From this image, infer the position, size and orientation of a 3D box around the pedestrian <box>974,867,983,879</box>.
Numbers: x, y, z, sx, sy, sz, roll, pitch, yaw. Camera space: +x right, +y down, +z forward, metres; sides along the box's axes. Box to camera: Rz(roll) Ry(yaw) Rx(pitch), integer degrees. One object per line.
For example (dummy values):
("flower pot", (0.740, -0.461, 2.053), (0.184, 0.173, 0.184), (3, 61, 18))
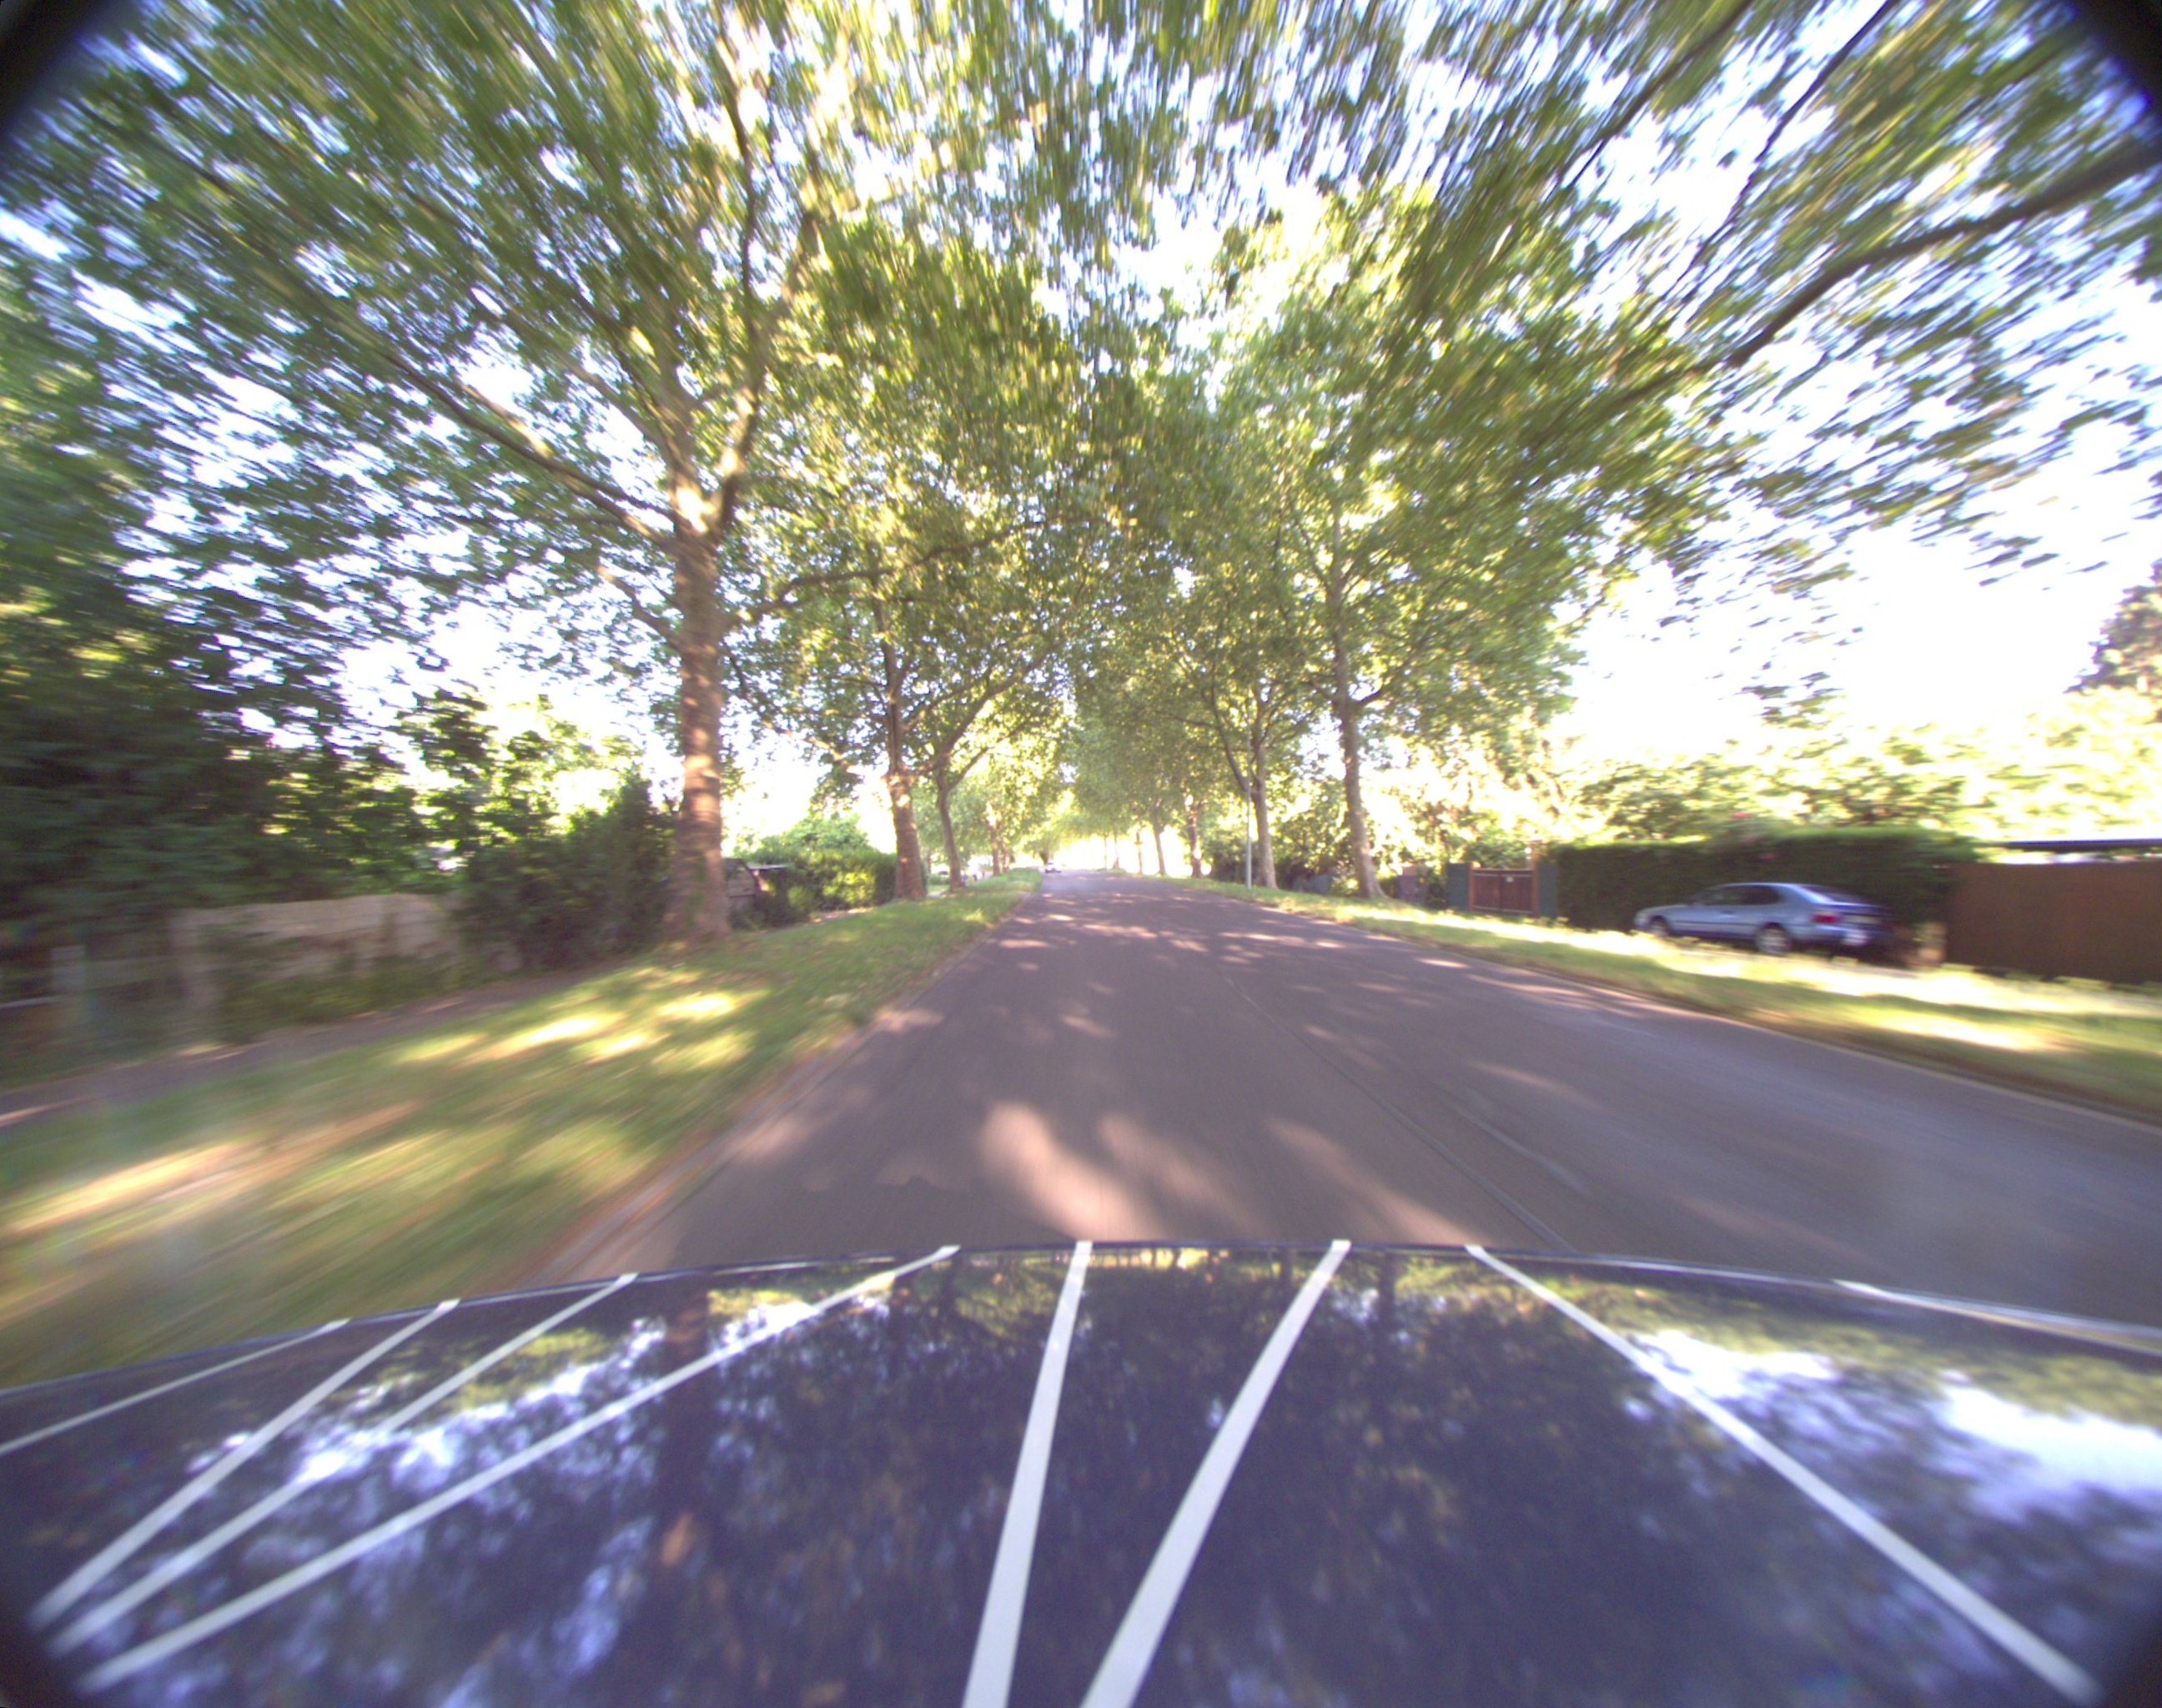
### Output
("pedestrian", (-13.604, 2.506, 101.164), (0.843, 1.567, 0.786), (-1, 1, 26))

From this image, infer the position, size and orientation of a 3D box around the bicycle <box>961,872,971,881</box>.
("bicycle", (-10.830, 2.126, 71.635), (0.553, 0.812, 1.889), (-2, 1, 4))

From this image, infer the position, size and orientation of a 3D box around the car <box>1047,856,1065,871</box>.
("car", (-3.058, 1.152, 93.185), (1.999, 1.655, 3.998), (-2, 0, -5))

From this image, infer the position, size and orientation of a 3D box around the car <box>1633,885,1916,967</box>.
("car", (13.257, 1.307, 14.913), (1.757, 1.296, 3.999), (0, -1, -4))

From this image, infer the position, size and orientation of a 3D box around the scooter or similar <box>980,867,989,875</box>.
("scooter or similar", (-14.225, 2.527, 112.065), (0.340, 1.128, 1.603), (-1, 1, 40))

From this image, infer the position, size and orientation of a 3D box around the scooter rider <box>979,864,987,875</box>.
("scooter rider", (-14.478, 2.281, 111.916), (0.782, 1.567, 0.847), (-3, -1, 40))

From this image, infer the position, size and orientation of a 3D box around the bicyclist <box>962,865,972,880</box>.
("bicyclist", (-10.724, 1.745, 71.509), (0.735, 1.358, 0.771), (-2, 1, 4))

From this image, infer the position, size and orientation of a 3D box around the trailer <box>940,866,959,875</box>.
("trailer", (-16.398, 2.049, 94.863), (2.123, 1.046, 1.200), (-2, 1, 0))

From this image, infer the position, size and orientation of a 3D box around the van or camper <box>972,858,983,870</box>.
("van or camper", (-25.310, 2.418, 185.388), (2.388, 2.783, 5.680), (-2, 1, -9))
